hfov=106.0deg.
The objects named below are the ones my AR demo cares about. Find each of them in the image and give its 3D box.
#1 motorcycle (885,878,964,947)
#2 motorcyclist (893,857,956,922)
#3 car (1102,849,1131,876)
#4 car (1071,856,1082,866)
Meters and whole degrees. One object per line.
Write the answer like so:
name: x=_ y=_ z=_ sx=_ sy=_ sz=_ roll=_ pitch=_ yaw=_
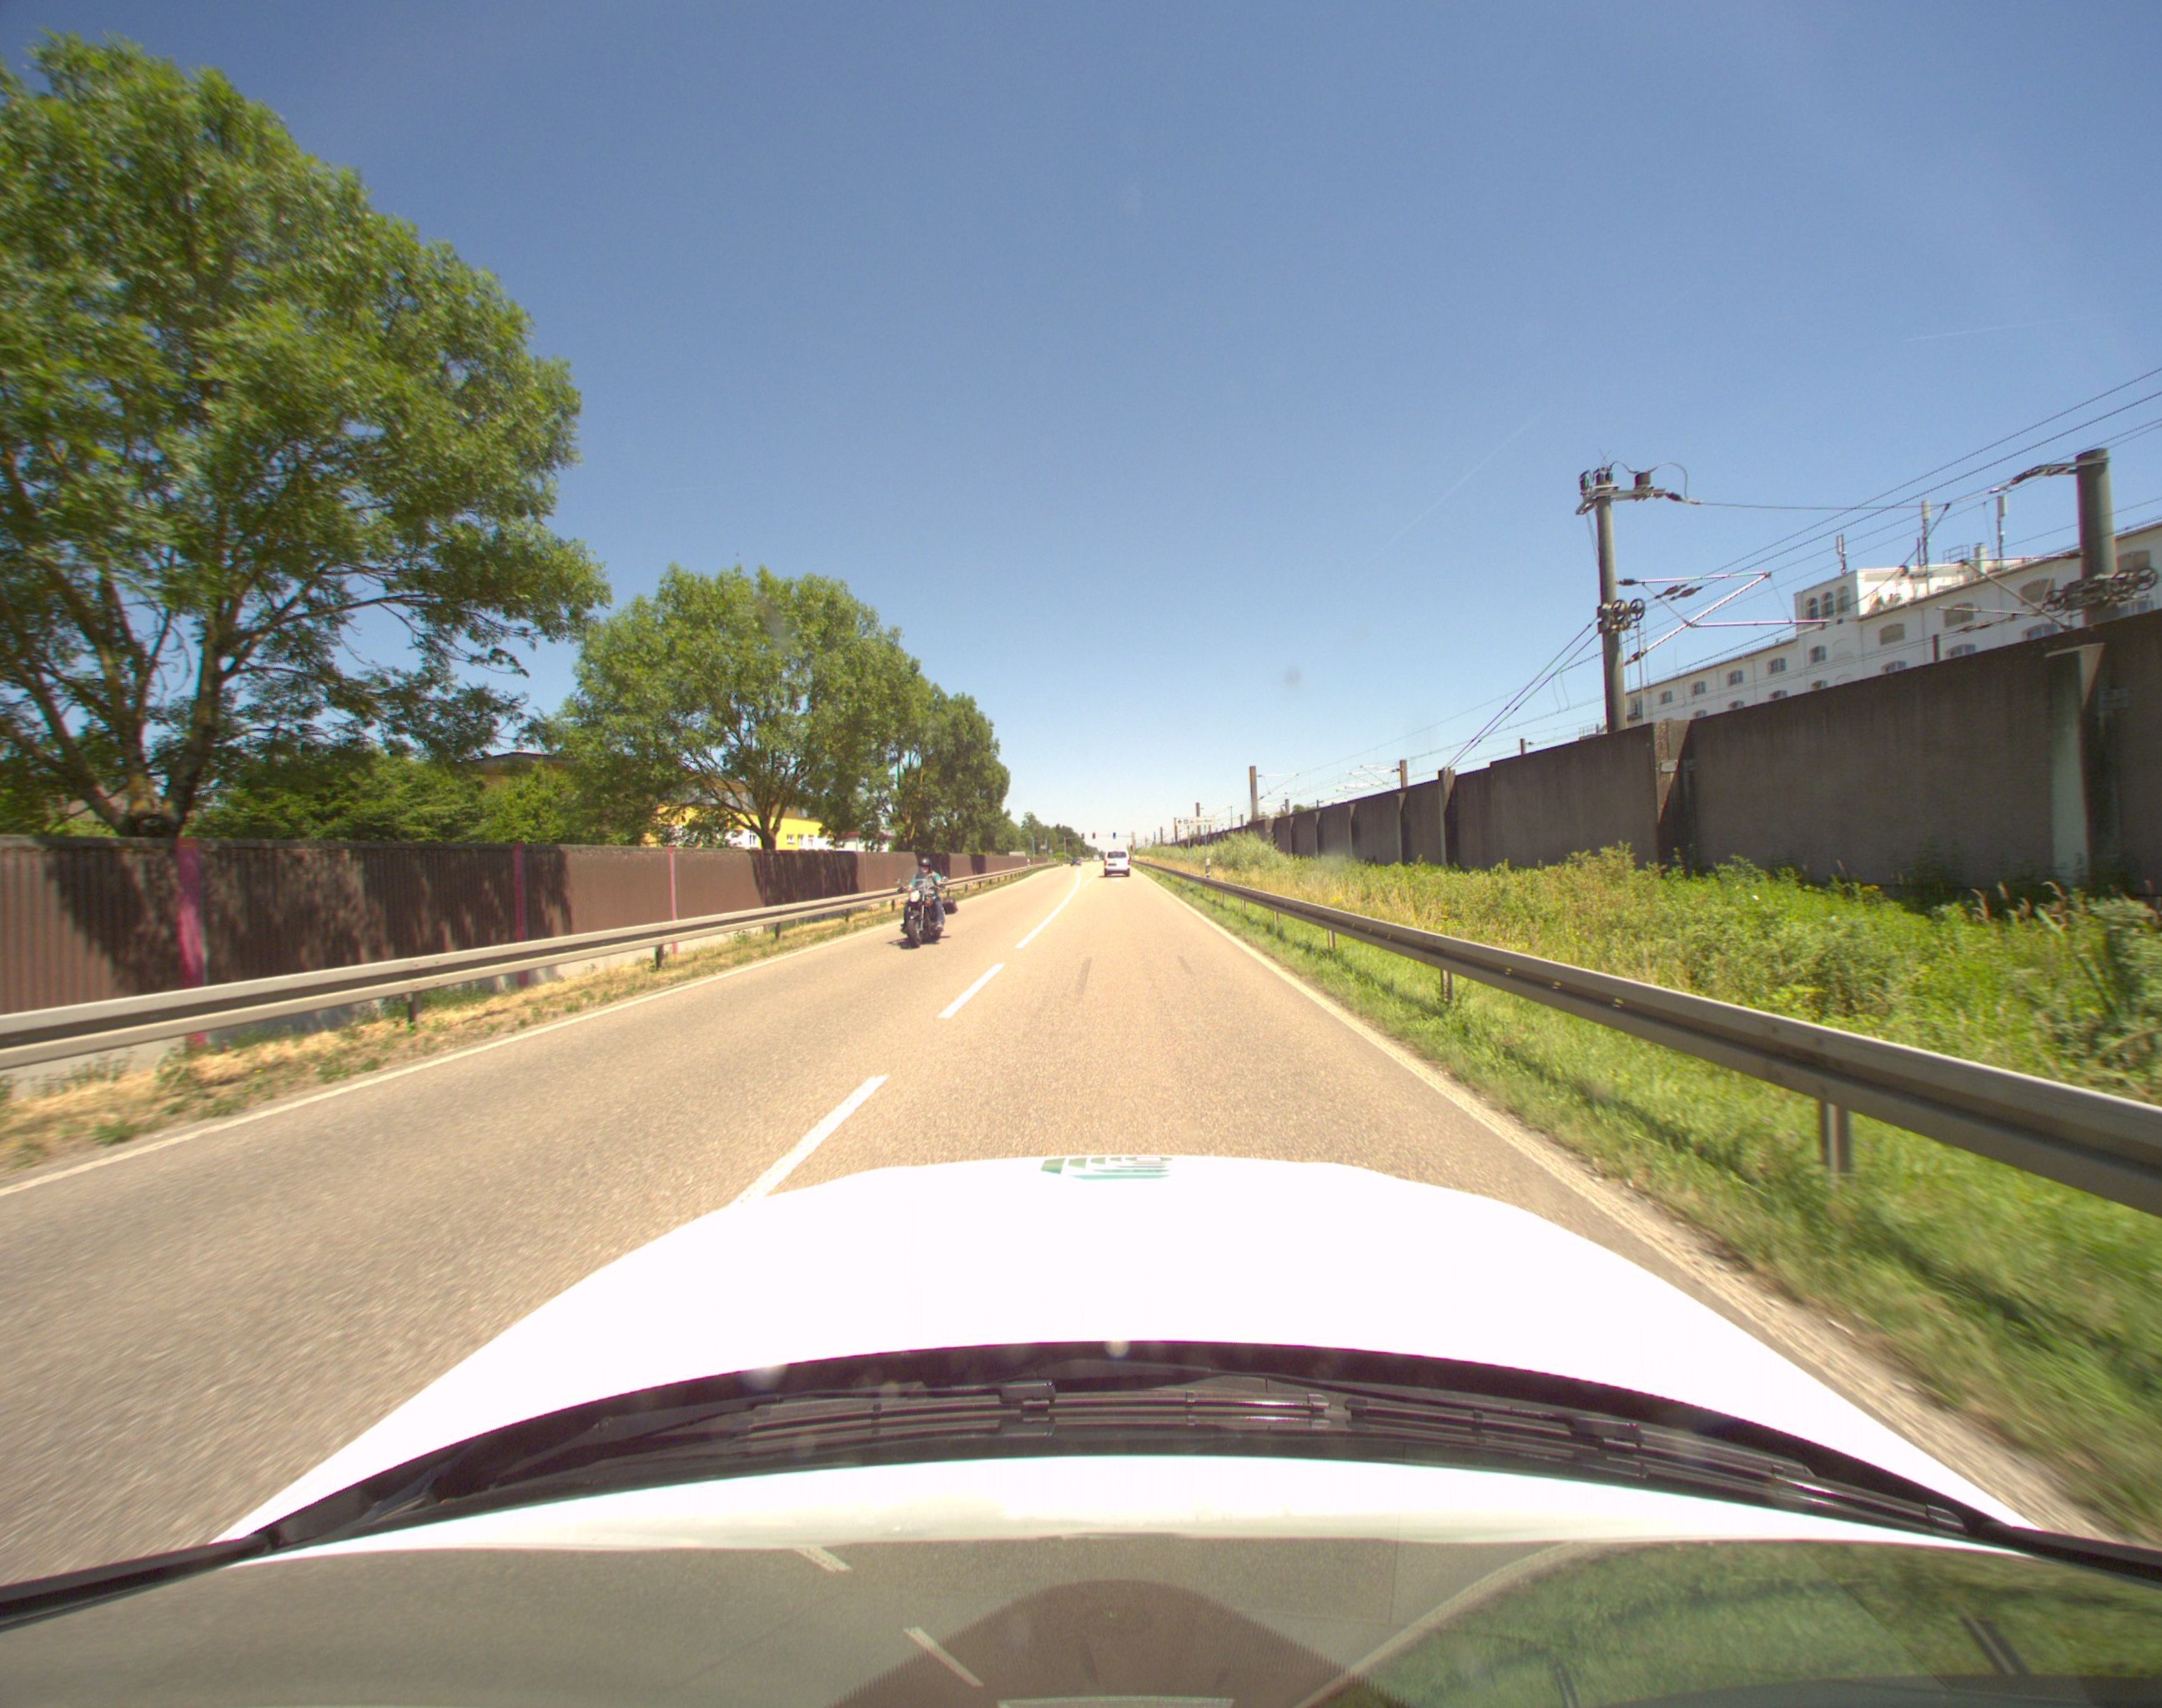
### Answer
motorcycle: x=-2.866 y=1.034 z=15.174 sx=0.950 sy=1.108 sz=2.336 roll=0 pitch=0 yaw=2
motorcyclist: x=-2.875 y=0.637 z=15.056 sx=0.934 sy=1.130 sz=0.928 roll=1 pitch=0 yaw=1
car: x=2.556 y=0.578 z=58.712 sx=1.986 sy=1.850 sz=4.003 roll=0 pitch=0 yaw=2
car: x=-0.781 y=1.240 z=140.706 sx=1.813 sy=1.596 sz=4.001 roll=0 pitch=0 yaw=1
